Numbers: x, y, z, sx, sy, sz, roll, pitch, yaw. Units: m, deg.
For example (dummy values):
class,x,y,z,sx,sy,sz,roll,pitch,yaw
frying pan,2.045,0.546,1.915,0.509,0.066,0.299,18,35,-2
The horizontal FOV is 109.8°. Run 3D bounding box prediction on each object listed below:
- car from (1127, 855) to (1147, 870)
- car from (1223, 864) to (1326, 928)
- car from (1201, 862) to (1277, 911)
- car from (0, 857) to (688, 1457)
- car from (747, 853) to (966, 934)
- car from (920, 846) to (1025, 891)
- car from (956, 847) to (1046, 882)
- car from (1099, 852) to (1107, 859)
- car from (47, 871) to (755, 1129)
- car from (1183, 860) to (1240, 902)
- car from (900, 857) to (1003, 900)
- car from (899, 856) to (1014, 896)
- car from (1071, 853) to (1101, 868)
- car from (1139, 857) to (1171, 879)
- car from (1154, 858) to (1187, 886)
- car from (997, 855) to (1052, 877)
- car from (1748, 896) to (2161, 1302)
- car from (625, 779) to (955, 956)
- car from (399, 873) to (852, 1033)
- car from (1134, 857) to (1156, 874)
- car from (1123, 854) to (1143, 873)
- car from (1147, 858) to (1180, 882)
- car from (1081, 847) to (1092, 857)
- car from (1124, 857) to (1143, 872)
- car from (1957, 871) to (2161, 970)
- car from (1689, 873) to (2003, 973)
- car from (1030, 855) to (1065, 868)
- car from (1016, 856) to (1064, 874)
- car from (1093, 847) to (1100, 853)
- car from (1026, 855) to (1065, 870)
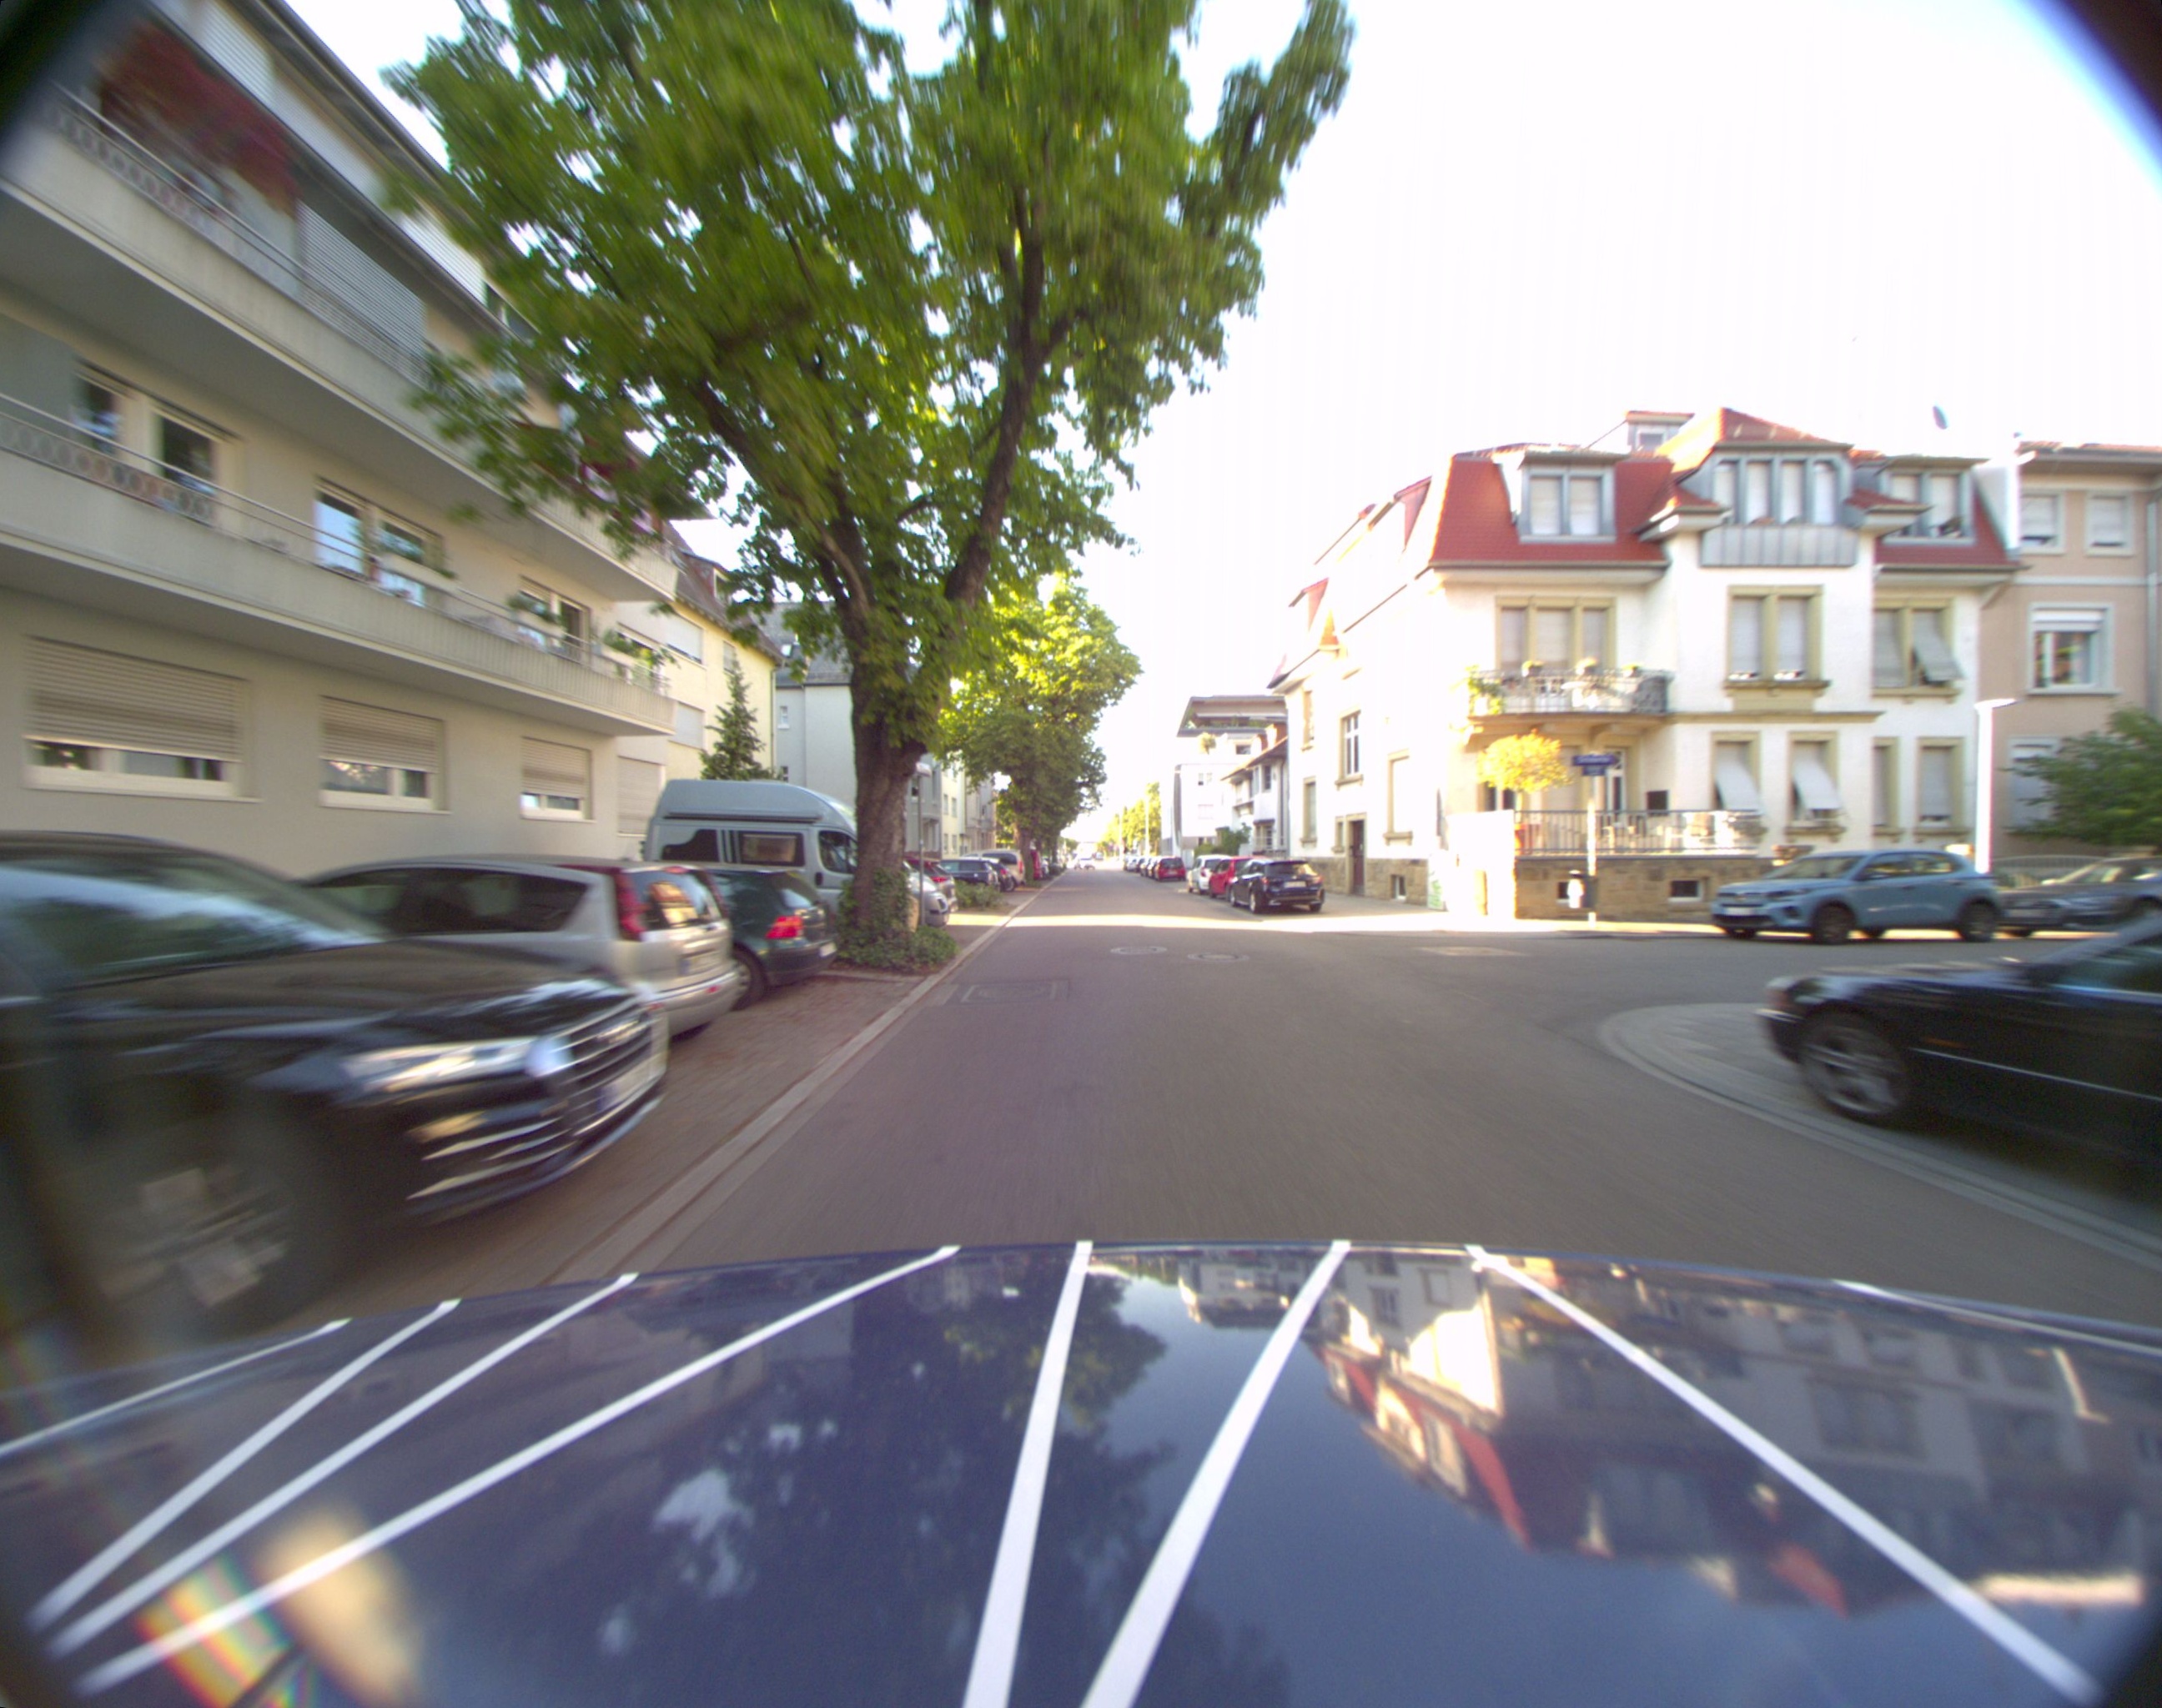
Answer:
class,x,y,z,sx,sy,sz,roll,pitch,yaw
car,5.408,0.825,73.774,1.723,1.386,3.908,-2,0,2
car,5.192,1.064,21.004,1.657,1.446,4.630,-2,0,1
car,5.377,1.055,26.278,1.586,1.468,3.705,-2,0,-4
car,-4.103,0.889,2.960,4.188,1.714,1.764,0,1,-7
car,-4.733,0.815,16.447,4.200,1.559,1.758,1,0,-1
car,-4.619,0.620,32.868,4.313,1.874,1.758,0,1,-3
car,-4.471,0.578,42.981,4.819,1.925,1.950,0,0,1
car,5.161,0.298,179.480,1.913,1.679,4.198,-2,0,1
car,-4.621,0.928,5.575,3.729,1.545,1.639,0,1,1
car,5.218,1.050,30.823,1.585,1.511,3.706,-2,0,-1
car,-4.634,0.863,27.589,3.411,1.419,1.759,1,0,0
car,-4.851,0.852,30.048,4.313,1.532,1.758,0,0,-3
car,0.580,0.774,89.803,2.101,1.700,4.599,-1,0,-18
car,5.501,1.018,56.929,1.743,1.451,4.563,-2,0,-2
car,5.310,1.053,45.539,1.654,1.474,3.429,-2,0,2
car,-3.869,0.850,52.854,3.680,1.488,1.676,0,0,0
car,5.152,1.033,2.526,1.714,1.461,4.632,-2,0,-1
car,-4.960,0.235,13.584,5.109,2.885,2.075,0,0,-2
car,-4.586,0.965,8.111,3.730,1.422,1.758,0,2,-1
car,5.790,1.044,68.615,1.723,1.386,3.908,-2,0,2
car,5.710,1.052,83.835,1.913,1.937,4.198,-2,0,1
car,5.510,1.044,51.271,1.742,1.451,4.378,-2,0,0
car,0.969,-0.410,135.251,1.913,1.679,4.198,-2,0,1
car,5.424,1.048,78.436,1.723,1.489,3.908,-2,0,2
car,18.422,1.084,13.230,4.488,1.550,1.761,-1,-1,-3
car,13.014,1.120,13.074,3.773,1.550,1.761,-1,-1,-4
car,-3.685,0.812,83.673,3.825,1.477,1.601,0,0,0
car,-3.249,0.852,60.260,3.680,1.434,1.601,0,0,0
car,4.630,-1.263,224.507,1.913,1.679,4.198,-2,0,1
car,-3.595,0.862,76.210,3.828,1.477,1.600,0,0,-7
